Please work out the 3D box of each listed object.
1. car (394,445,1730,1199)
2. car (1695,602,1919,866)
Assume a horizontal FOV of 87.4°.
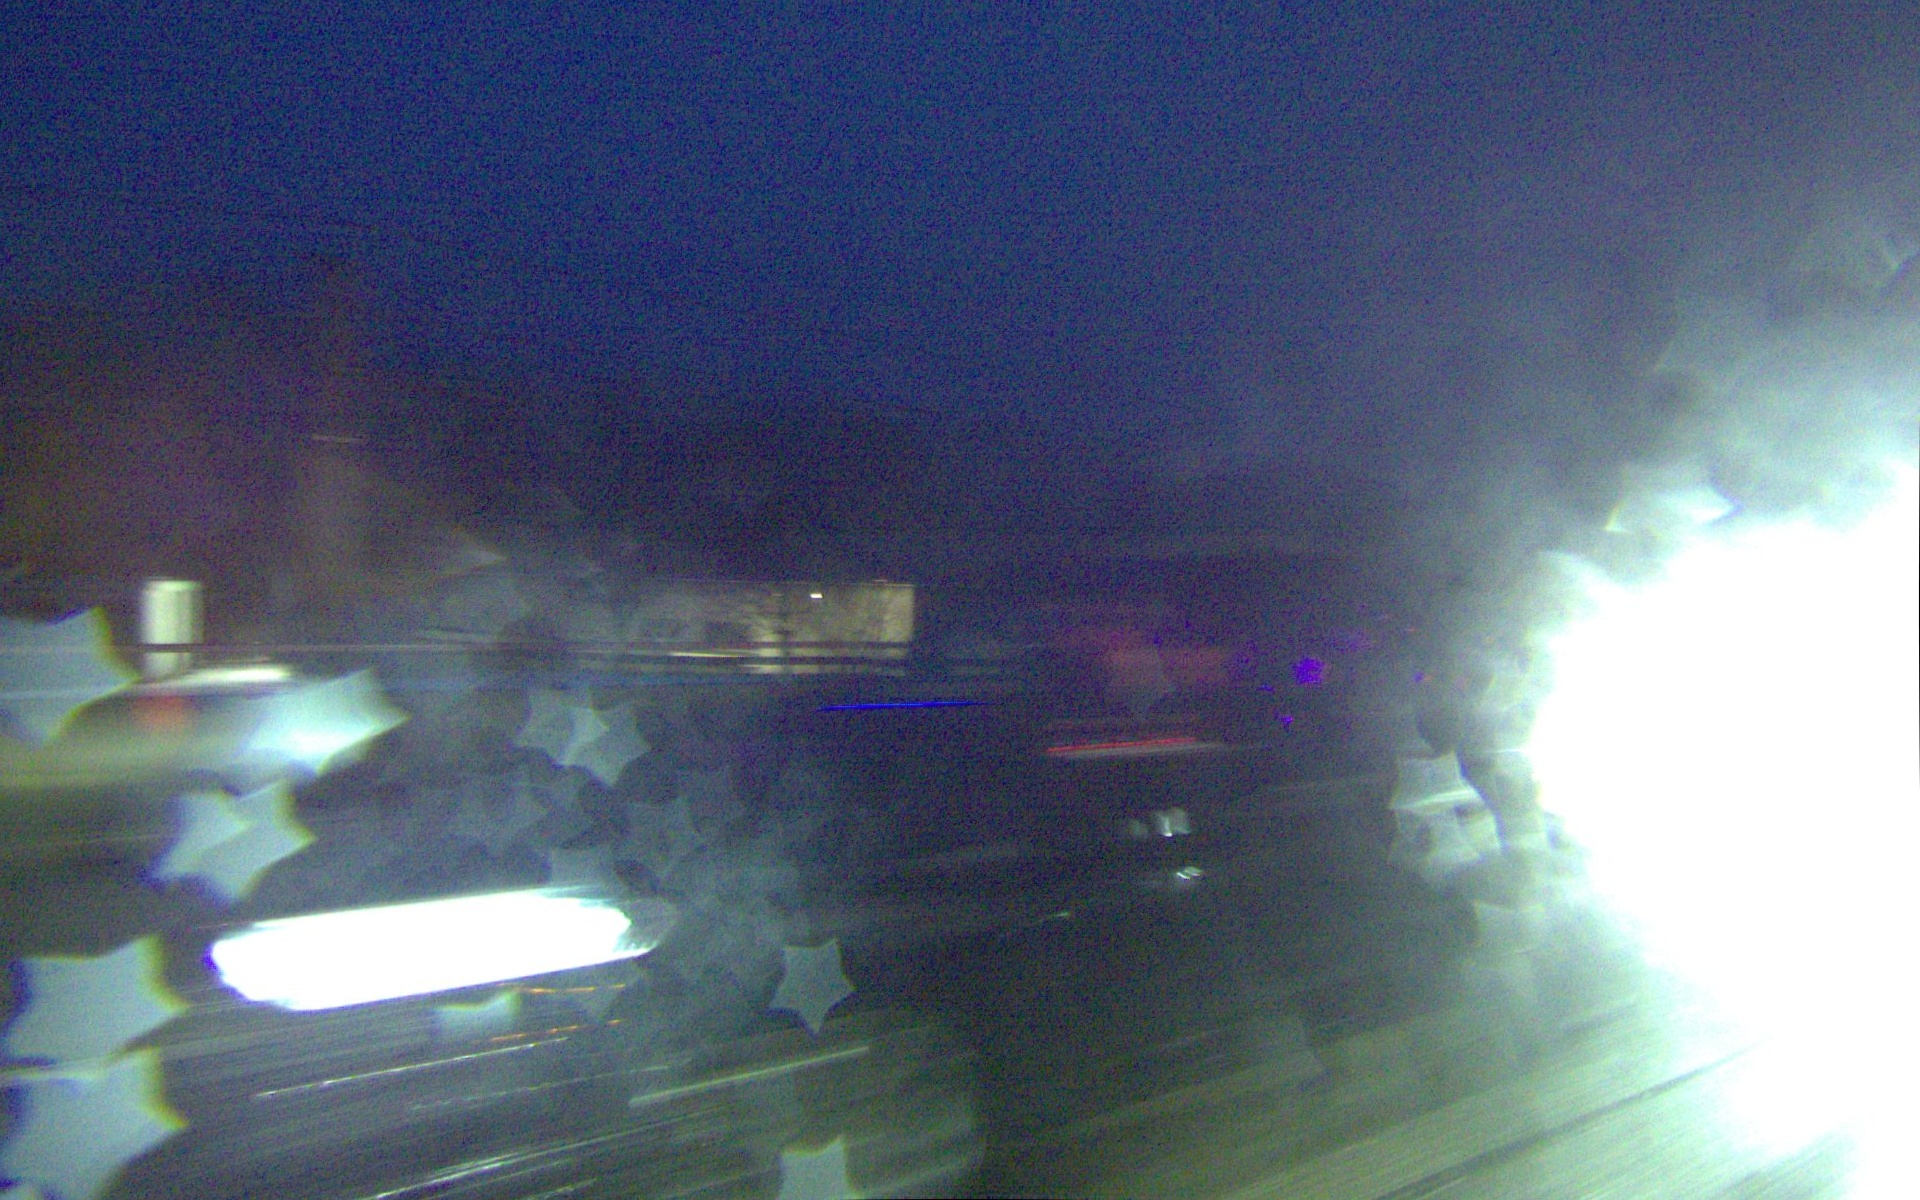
[{"bbox_3d":[0.562,0.638,3.498,4.392,1.691,1.835,1,0,-30],"label":"car"},{"bbox_3d":[7.636,0.855,7.494,4.543,1.596,1.835,1,0,-31],"label":"car"}]
